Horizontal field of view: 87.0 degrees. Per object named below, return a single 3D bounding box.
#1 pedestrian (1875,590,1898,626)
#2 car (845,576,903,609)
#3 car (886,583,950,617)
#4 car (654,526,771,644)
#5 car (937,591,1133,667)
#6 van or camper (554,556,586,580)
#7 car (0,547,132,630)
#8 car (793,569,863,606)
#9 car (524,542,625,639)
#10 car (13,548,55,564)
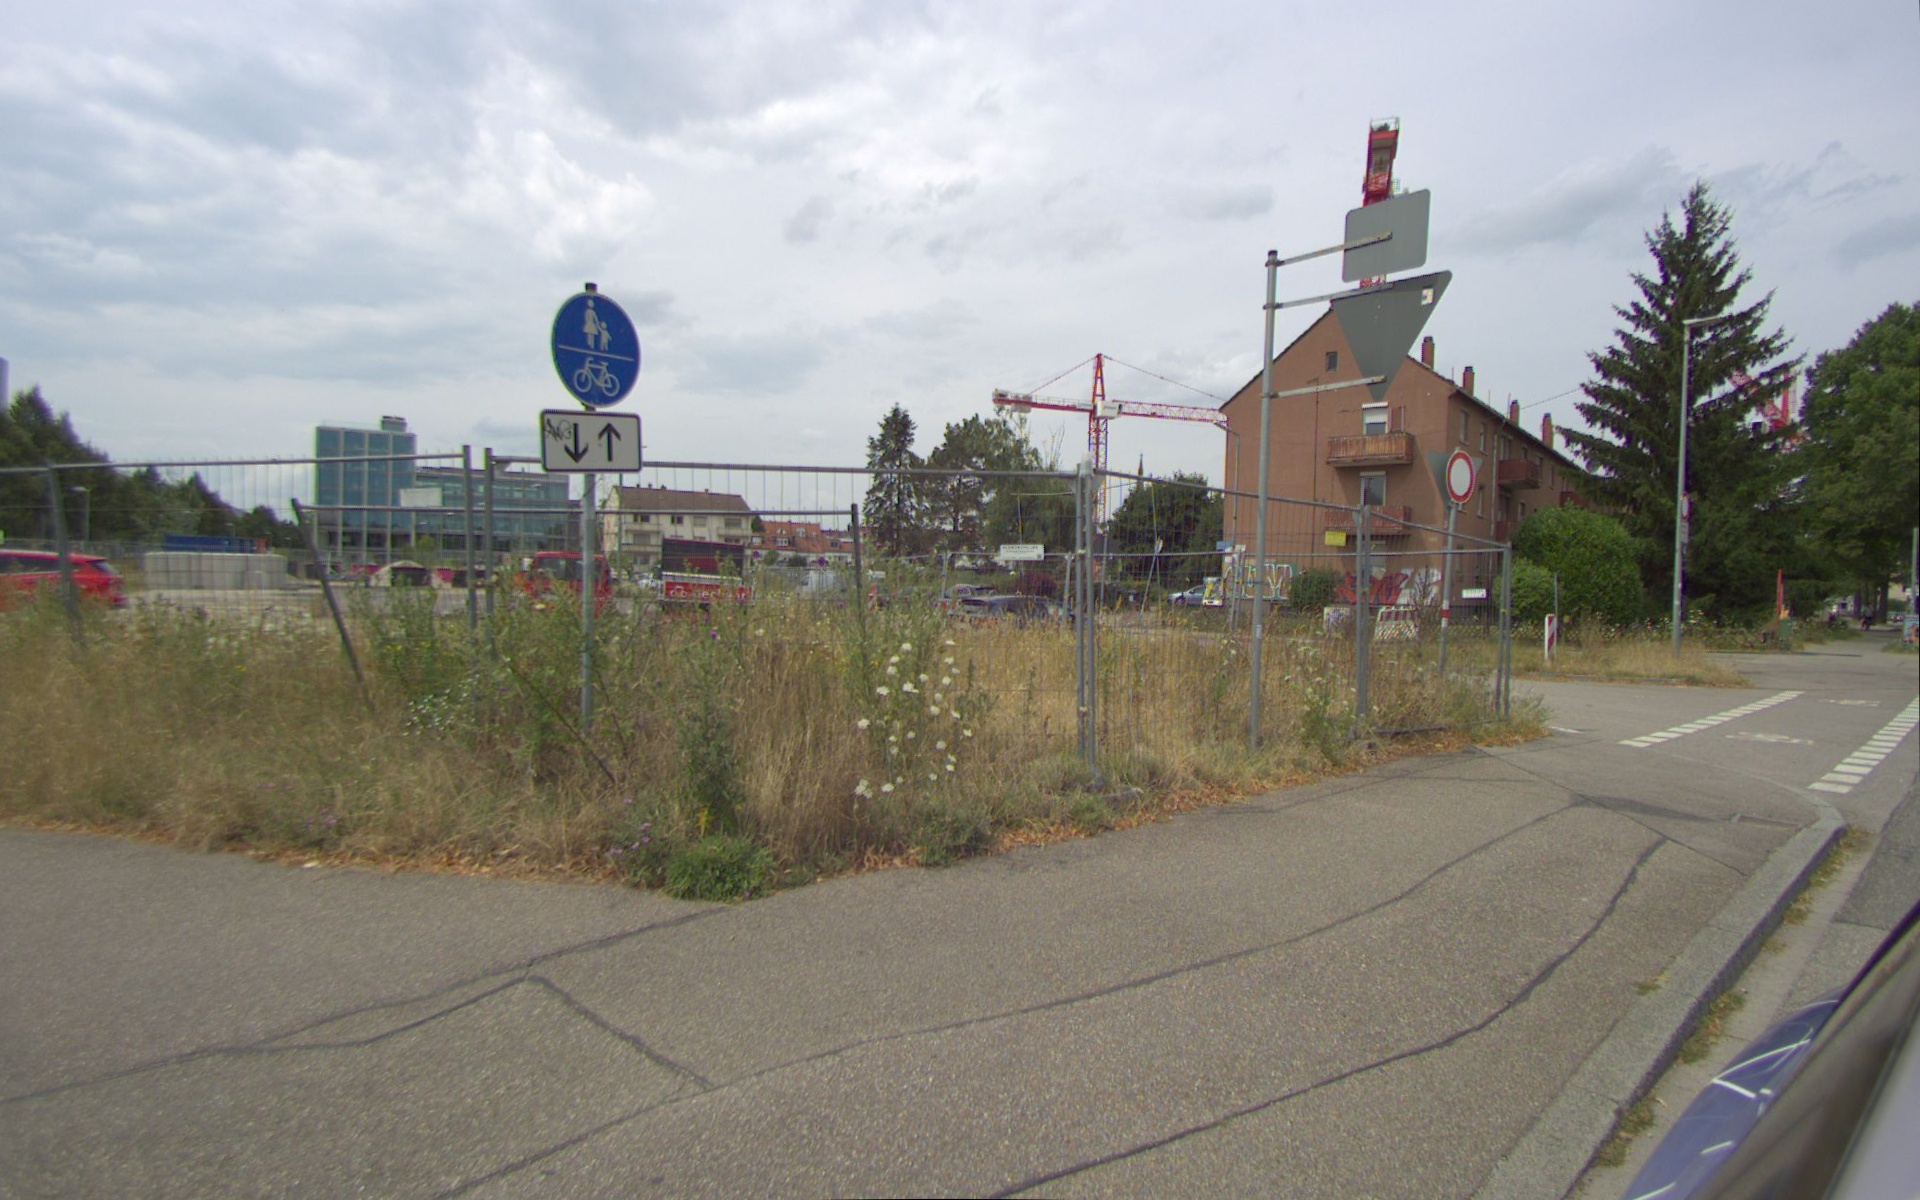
[{"bbox_3d":[53.449,0.461,58.405,0.851,2.039,0.722,2,0,38],"label":"pedestrian"},{"bbox_3d":[-4.908,-0.443,57.397,1.820,1.771,4.019,1,1,-29],"label":"car"},{"bbox_3d":[-2.238,-0.029,53.044,1.765,1.622,4.020,1,1,-28],"label":"car"},{"bbox_3d":[-6.163,-0.385,24.504,2.269,2.442,6.557,1,1,-18],"label":"car"},{"bbox_3d":[1.708,0.599,22.397,4.179,1.492,1.767,1,1,-37],"label":"car"},{"bbox_3d":[-45.955,-3.782,119.270,2.307,2.721,5.247,1,1,-34],"label":"van or camper"},{"bbox_3d":[-19.919,-0.261,20.259,5.043,1.624,1.789,1,1,-37],"label":"car"},{"bbox_3d":[-8.128,-0.812,62.081,2.107,2.163,4.909,1,1,-36],"label":"car"},{"bbox_3d":[-8.991,-0.242,23.900,1.896,1.934,4.999,4,0,-19],"label":"car"},{"bbox_3d":[-83.743,-3.942,91.528,1.960,1.391,4.005,1,1,-30],"label":"car"}]
